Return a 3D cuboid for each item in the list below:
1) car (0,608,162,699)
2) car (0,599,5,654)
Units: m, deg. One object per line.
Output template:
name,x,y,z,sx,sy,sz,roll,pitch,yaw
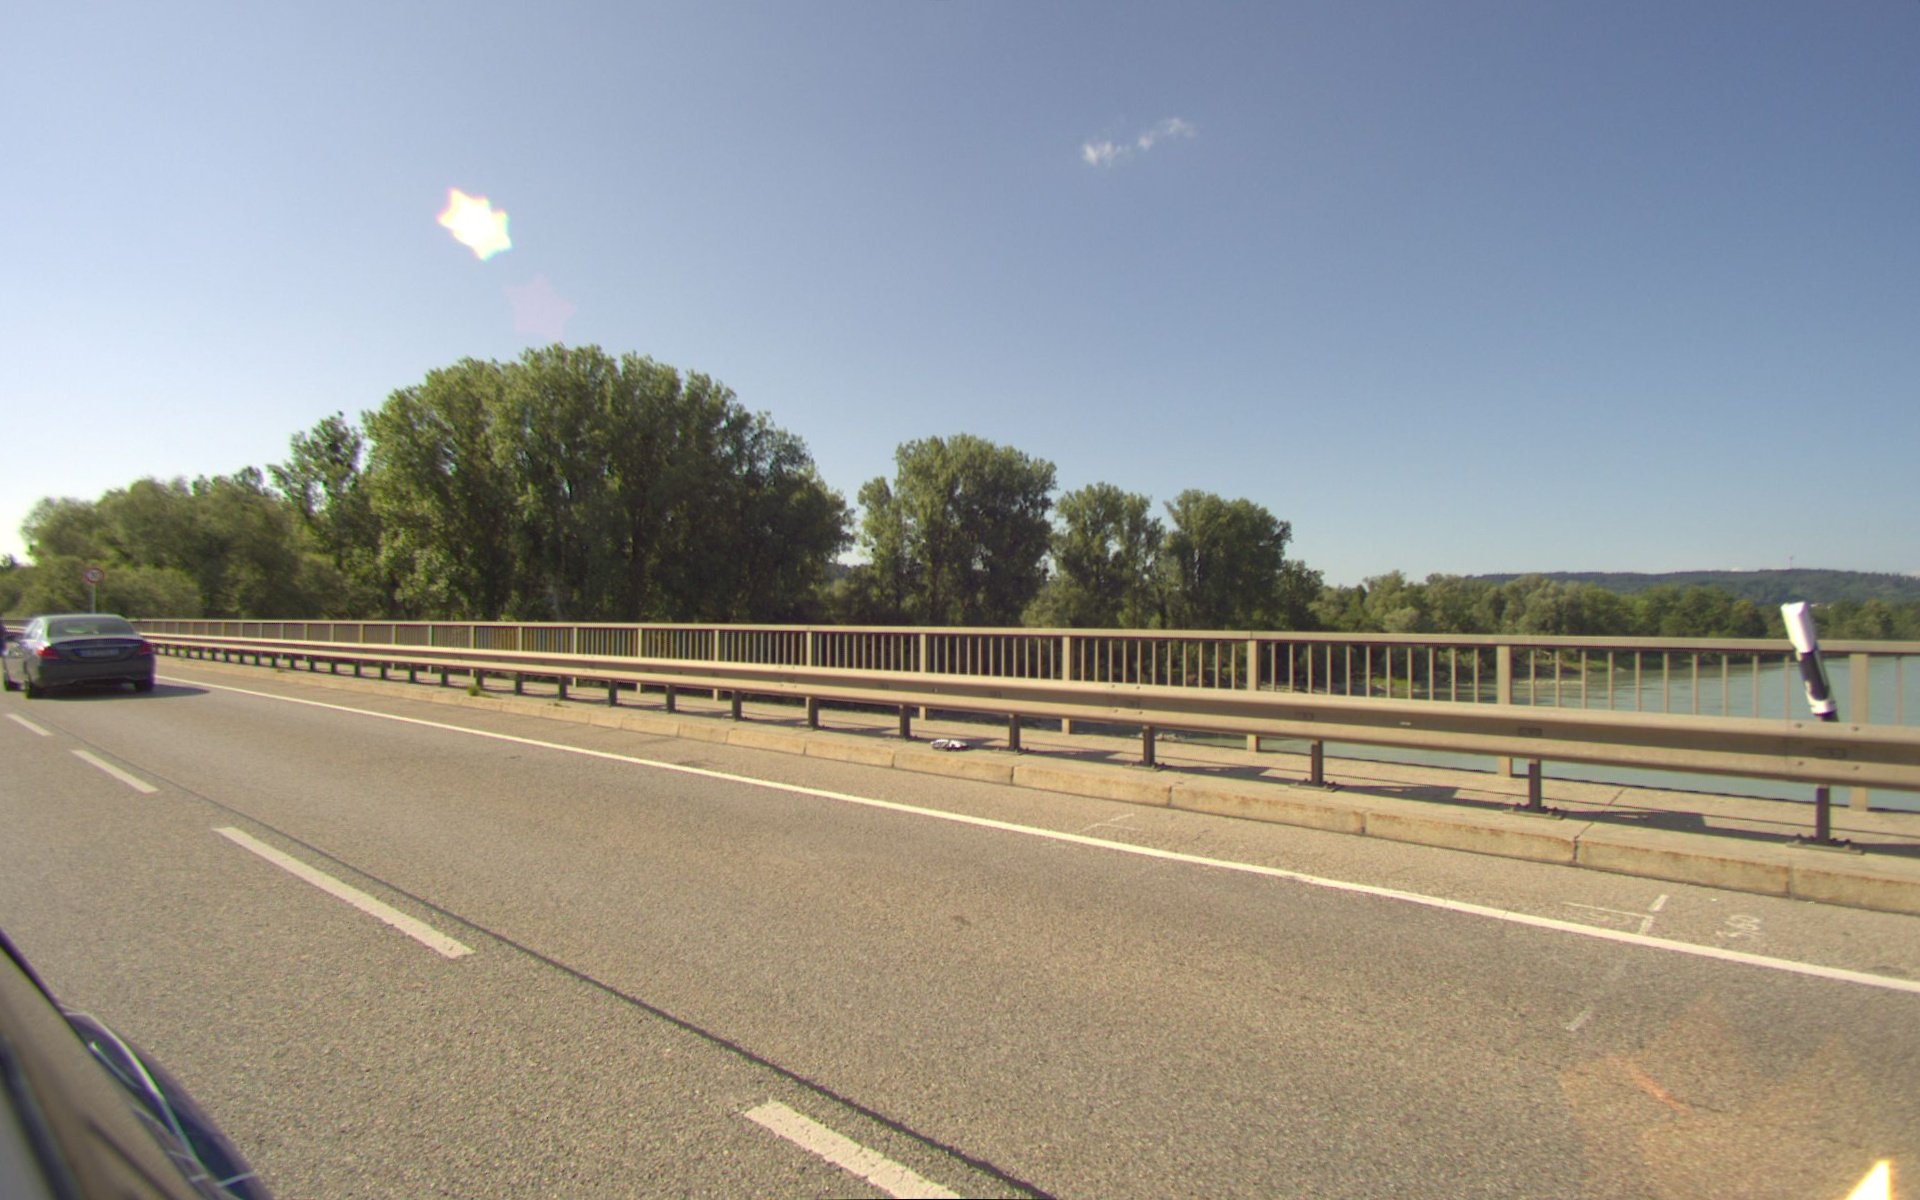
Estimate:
car,-16.475,0.913,18.834,4.454,1.458,1.747,-1,0,41
car,-35.659,0.959,35.948,5.066,1.888,2.016,-1,0,41
